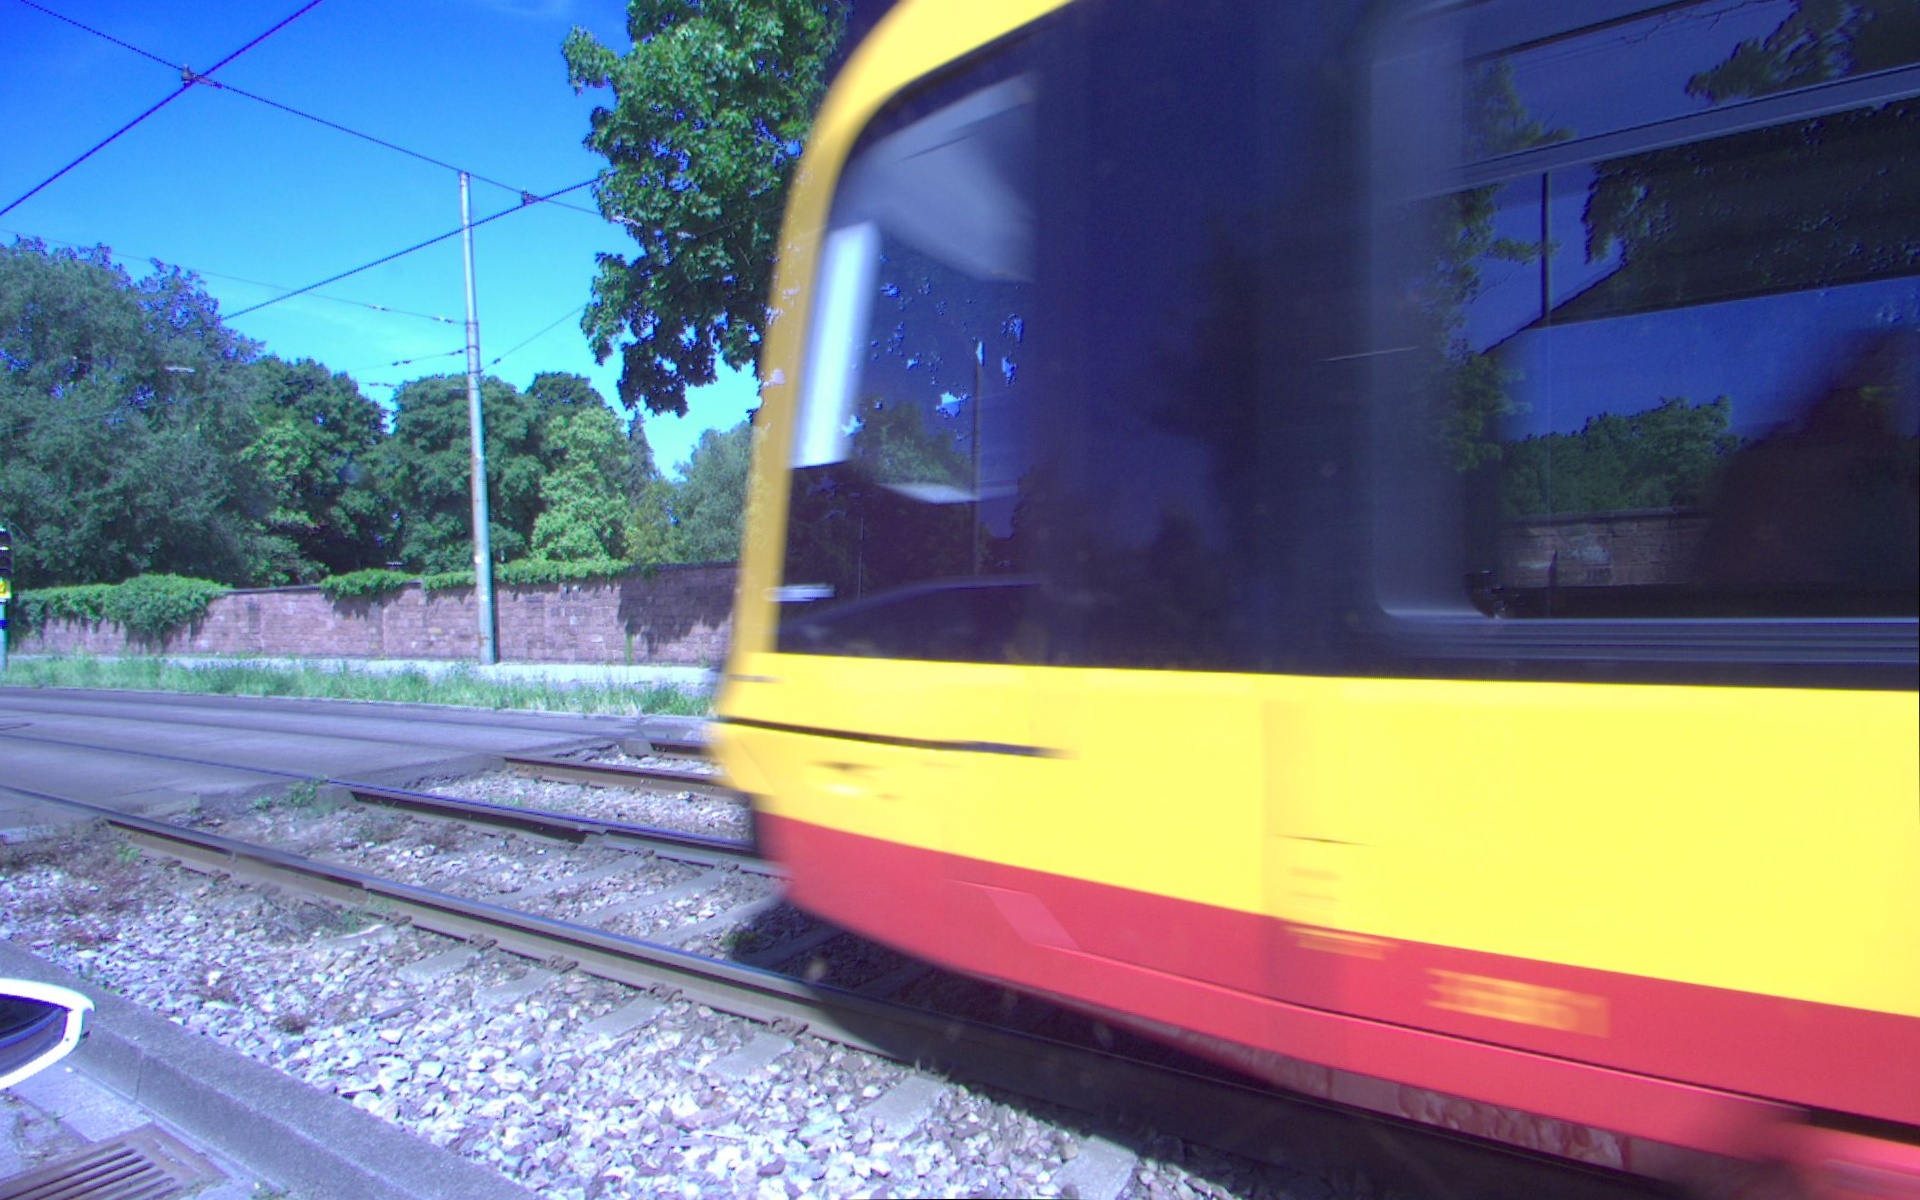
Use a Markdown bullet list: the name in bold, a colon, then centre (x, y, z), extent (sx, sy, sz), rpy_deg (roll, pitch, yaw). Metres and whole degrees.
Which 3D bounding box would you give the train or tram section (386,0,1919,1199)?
- **train or tram section**: centre (4.927, -0.436, 0.795), extent (15.089, 3.698, 2.665), rpy_deg (-1, -2, 33)
